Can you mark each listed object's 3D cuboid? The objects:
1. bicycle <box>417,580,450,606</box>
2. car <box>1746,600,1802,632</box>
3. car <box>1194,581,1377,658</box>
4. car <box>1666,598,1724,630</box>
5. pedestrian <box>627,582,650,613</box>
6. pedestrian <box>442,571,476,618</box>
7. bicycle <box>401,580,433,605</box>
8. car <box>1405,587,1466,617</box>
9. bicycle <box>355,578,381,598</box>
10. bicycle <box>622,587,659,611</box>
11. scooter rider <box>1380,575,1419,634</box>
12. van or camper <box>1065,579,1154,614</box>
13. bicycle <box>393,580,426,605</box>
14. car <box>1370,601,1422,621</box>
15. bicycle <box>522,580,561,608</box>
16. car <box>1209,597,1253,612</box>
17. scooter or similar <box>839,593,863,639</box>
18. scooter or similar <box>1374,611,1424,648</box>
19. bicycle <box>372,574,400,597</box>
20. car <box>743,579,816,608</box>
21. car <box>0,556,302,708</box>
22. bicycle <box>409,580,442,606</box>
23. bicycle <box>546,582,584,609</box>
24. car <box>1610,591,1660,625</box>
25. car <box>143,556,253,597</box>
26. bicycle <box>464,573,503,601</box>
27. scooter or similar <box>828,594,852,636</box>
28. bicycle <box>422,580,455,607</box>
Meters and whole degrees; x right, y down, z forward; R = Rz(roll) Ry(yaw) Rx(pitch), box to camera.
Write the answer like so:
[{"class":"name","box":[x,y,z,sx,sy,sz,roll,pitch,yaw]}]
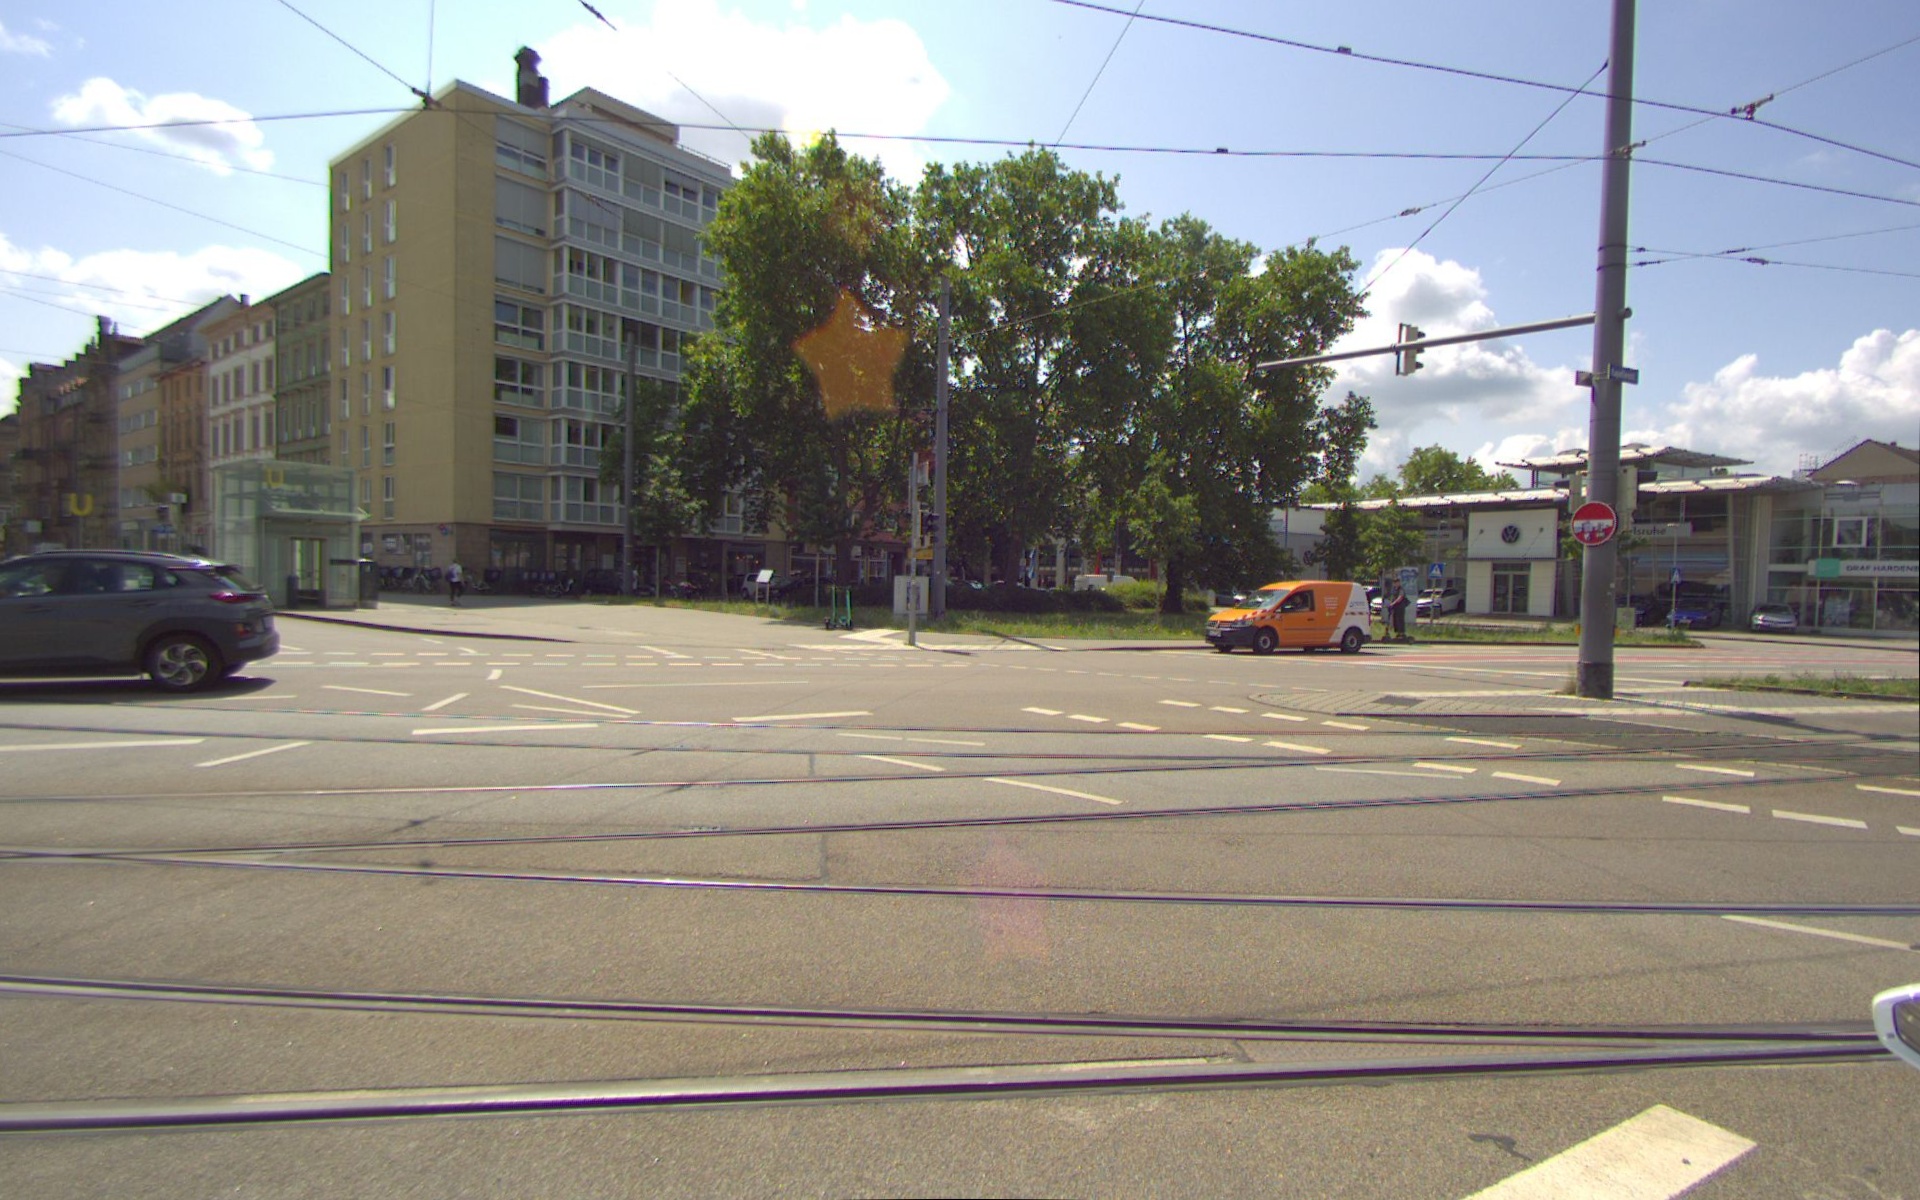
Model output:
[{"class":"bicycle","box":[-24.001,-0.308,45.767,0.452,1.161,1.269,2,2,36]},{"class":"car","box":[40.258,0.749,49.737,1.804,1.466,3.934,3,1,35]},{"class":"car","box":[8.126,0.458,25.093,4.178,1.789,1.762,0,1,-21]},{"class":"car","box":[37.187,0.689,50.781,3.760,1.493,1.640,0,2,-42]},{"class":"pedestrian","box":[-14.226,-0.118,44.445,0.553,1.344,0.758,3,2,36]},{"class":"pedestrian","box":[-17.154,-0.188,34.403,0.873,1.581,0.715,0,2,-41]},{"class":"bicycle","box":[-25.268,-0.348,46.751,0.452,1.161,1.269,2,2,36]},{"class":"car","box":[30.210,0.152,63.755,3.823,1.798,1.685,1,1,-33]},{"class":"bicycle","box":[-29.164,-0.593,49.474,0.372,0.950,1.061,2,2,36]},{"class":"bicycle","box":[-14.595,-0.050,45.971,0.486,1.081,1.594,3,2,40]},{"class":"scooter rider","box":[13.176,0.133,30.120,0.639,1.730,0.776,1,1,-19]},{"class":"van or camper","box":[11.456,-0.255,76.648,6.610,2.533,2.556,1,1,-33]},{"class":"bicycle","box":[-25.842,-0.368,47.146,0.452,1.161,1.269,2,2,36]},{"class":"car","box":[28.630,0.732,65.937,3.607,1.262,1.540,1,1,-38]},{"class":"bicycle","box":[-19.374,-0.274,46.521,0.486,1.282,1.594,3,2,40]},{"class":"car","box":[24.719,0.425,91.718,1.544,1.262,3.598,1,1,-39]},{"class":"scooter or similar","box":[-2.971,0.439,27.377,0.541,1.216,0.460,1,1,-20]},{"class":"scooter or similar","box":[13.168,0.884,30.144,1.076,1.046,0.803,1,1,-19]},{"class":"bicycle","box":[-27.683,-0.683,48.419,0.303,1.089,1.156,2,2,36]},{"class":"car","box":[-9.959,-0.376,55.256,3.870,1.531,1.871,2,2,39]},{"class":"car","box":[-10.031,0.330,11.387,4.052,1.581,1.804,1,0,-25]},{"class":"bicycle","box":[-24.592,-0.330,46.206,0.452,1.161,1.269,2,2,36]},{"class":"bicycle","box":[-18.235,-0.203,46.432,0.486,1.183,1.594,3,2,40]},{"class":"car","box":[35.944,0.427,53.554,1.744,1.695,3.634,2,1,27]},{"class":"car","box":[-32.935,-1.005,43.563,1.597,1.664,4.172,1,1,0]},{"class":"bicycle","box":[-22.206,-0.592,46.837,0.486,1.282,1.594,3,2,40]},{"class":"scooter or similar","box":[-3.349,0.418,28.035,0.548,1.140,0.414,1,1,-20]},{"class":"bicycle","box":[-23.560,-0.296,45.407,0.452,1.161,1.269,2,2,36]}]
